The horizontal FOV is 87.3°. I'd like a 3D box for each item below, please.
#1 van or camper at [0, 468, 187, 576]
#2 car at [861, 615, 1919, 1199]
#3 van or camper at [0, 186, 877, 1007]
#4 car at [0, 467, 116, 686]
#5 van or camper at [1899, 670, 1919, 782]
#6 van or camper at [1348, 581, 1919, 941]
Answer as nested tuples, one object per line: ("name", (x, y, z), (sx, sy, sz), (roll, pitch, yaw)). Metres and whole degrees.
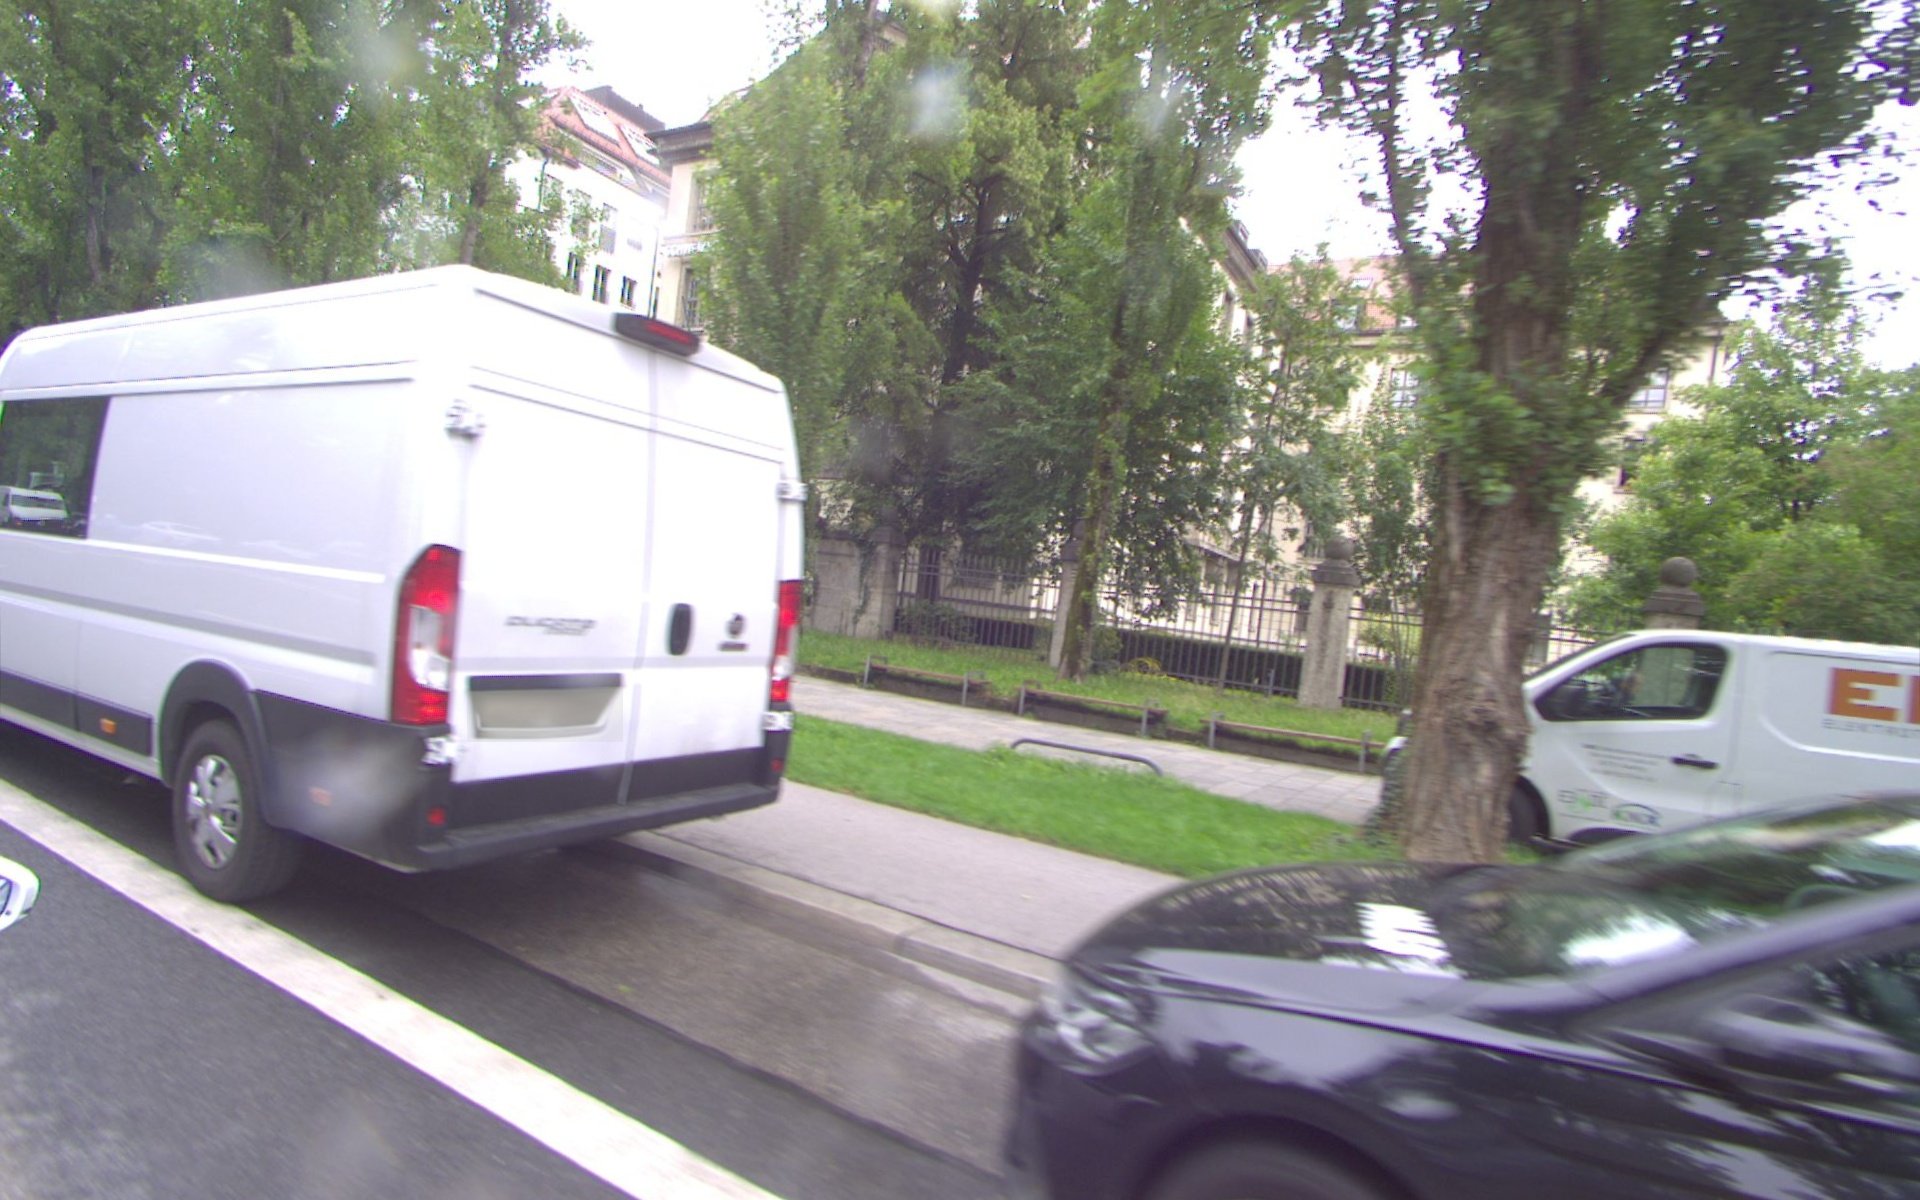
("van or camper", (-20.798, -1.893, 23.838), (5.279, 1.956, 2.080), (7, -1, 32))
("car", (1.947, 1.003, 1.940), (3.932, 1.437, 1.679), (7, 0, 30))
("van or camper", (-3.771, -0.233, 5.698), (6.310, 2.571, 2.141), (7, 0, 31))
("car", (-9.307, -0.417, 8.523), (4.342, 1.669, 1.788), (7, 0, 29))
("van or camper", (23.805, 3.085, 22.898), (2.211, 2.739, 5.217), (7, 0, 31))
("van or camper", (5.835, 1.163, 7.651), (4.953, 1.956, 1.979), (7, -1, 31))
